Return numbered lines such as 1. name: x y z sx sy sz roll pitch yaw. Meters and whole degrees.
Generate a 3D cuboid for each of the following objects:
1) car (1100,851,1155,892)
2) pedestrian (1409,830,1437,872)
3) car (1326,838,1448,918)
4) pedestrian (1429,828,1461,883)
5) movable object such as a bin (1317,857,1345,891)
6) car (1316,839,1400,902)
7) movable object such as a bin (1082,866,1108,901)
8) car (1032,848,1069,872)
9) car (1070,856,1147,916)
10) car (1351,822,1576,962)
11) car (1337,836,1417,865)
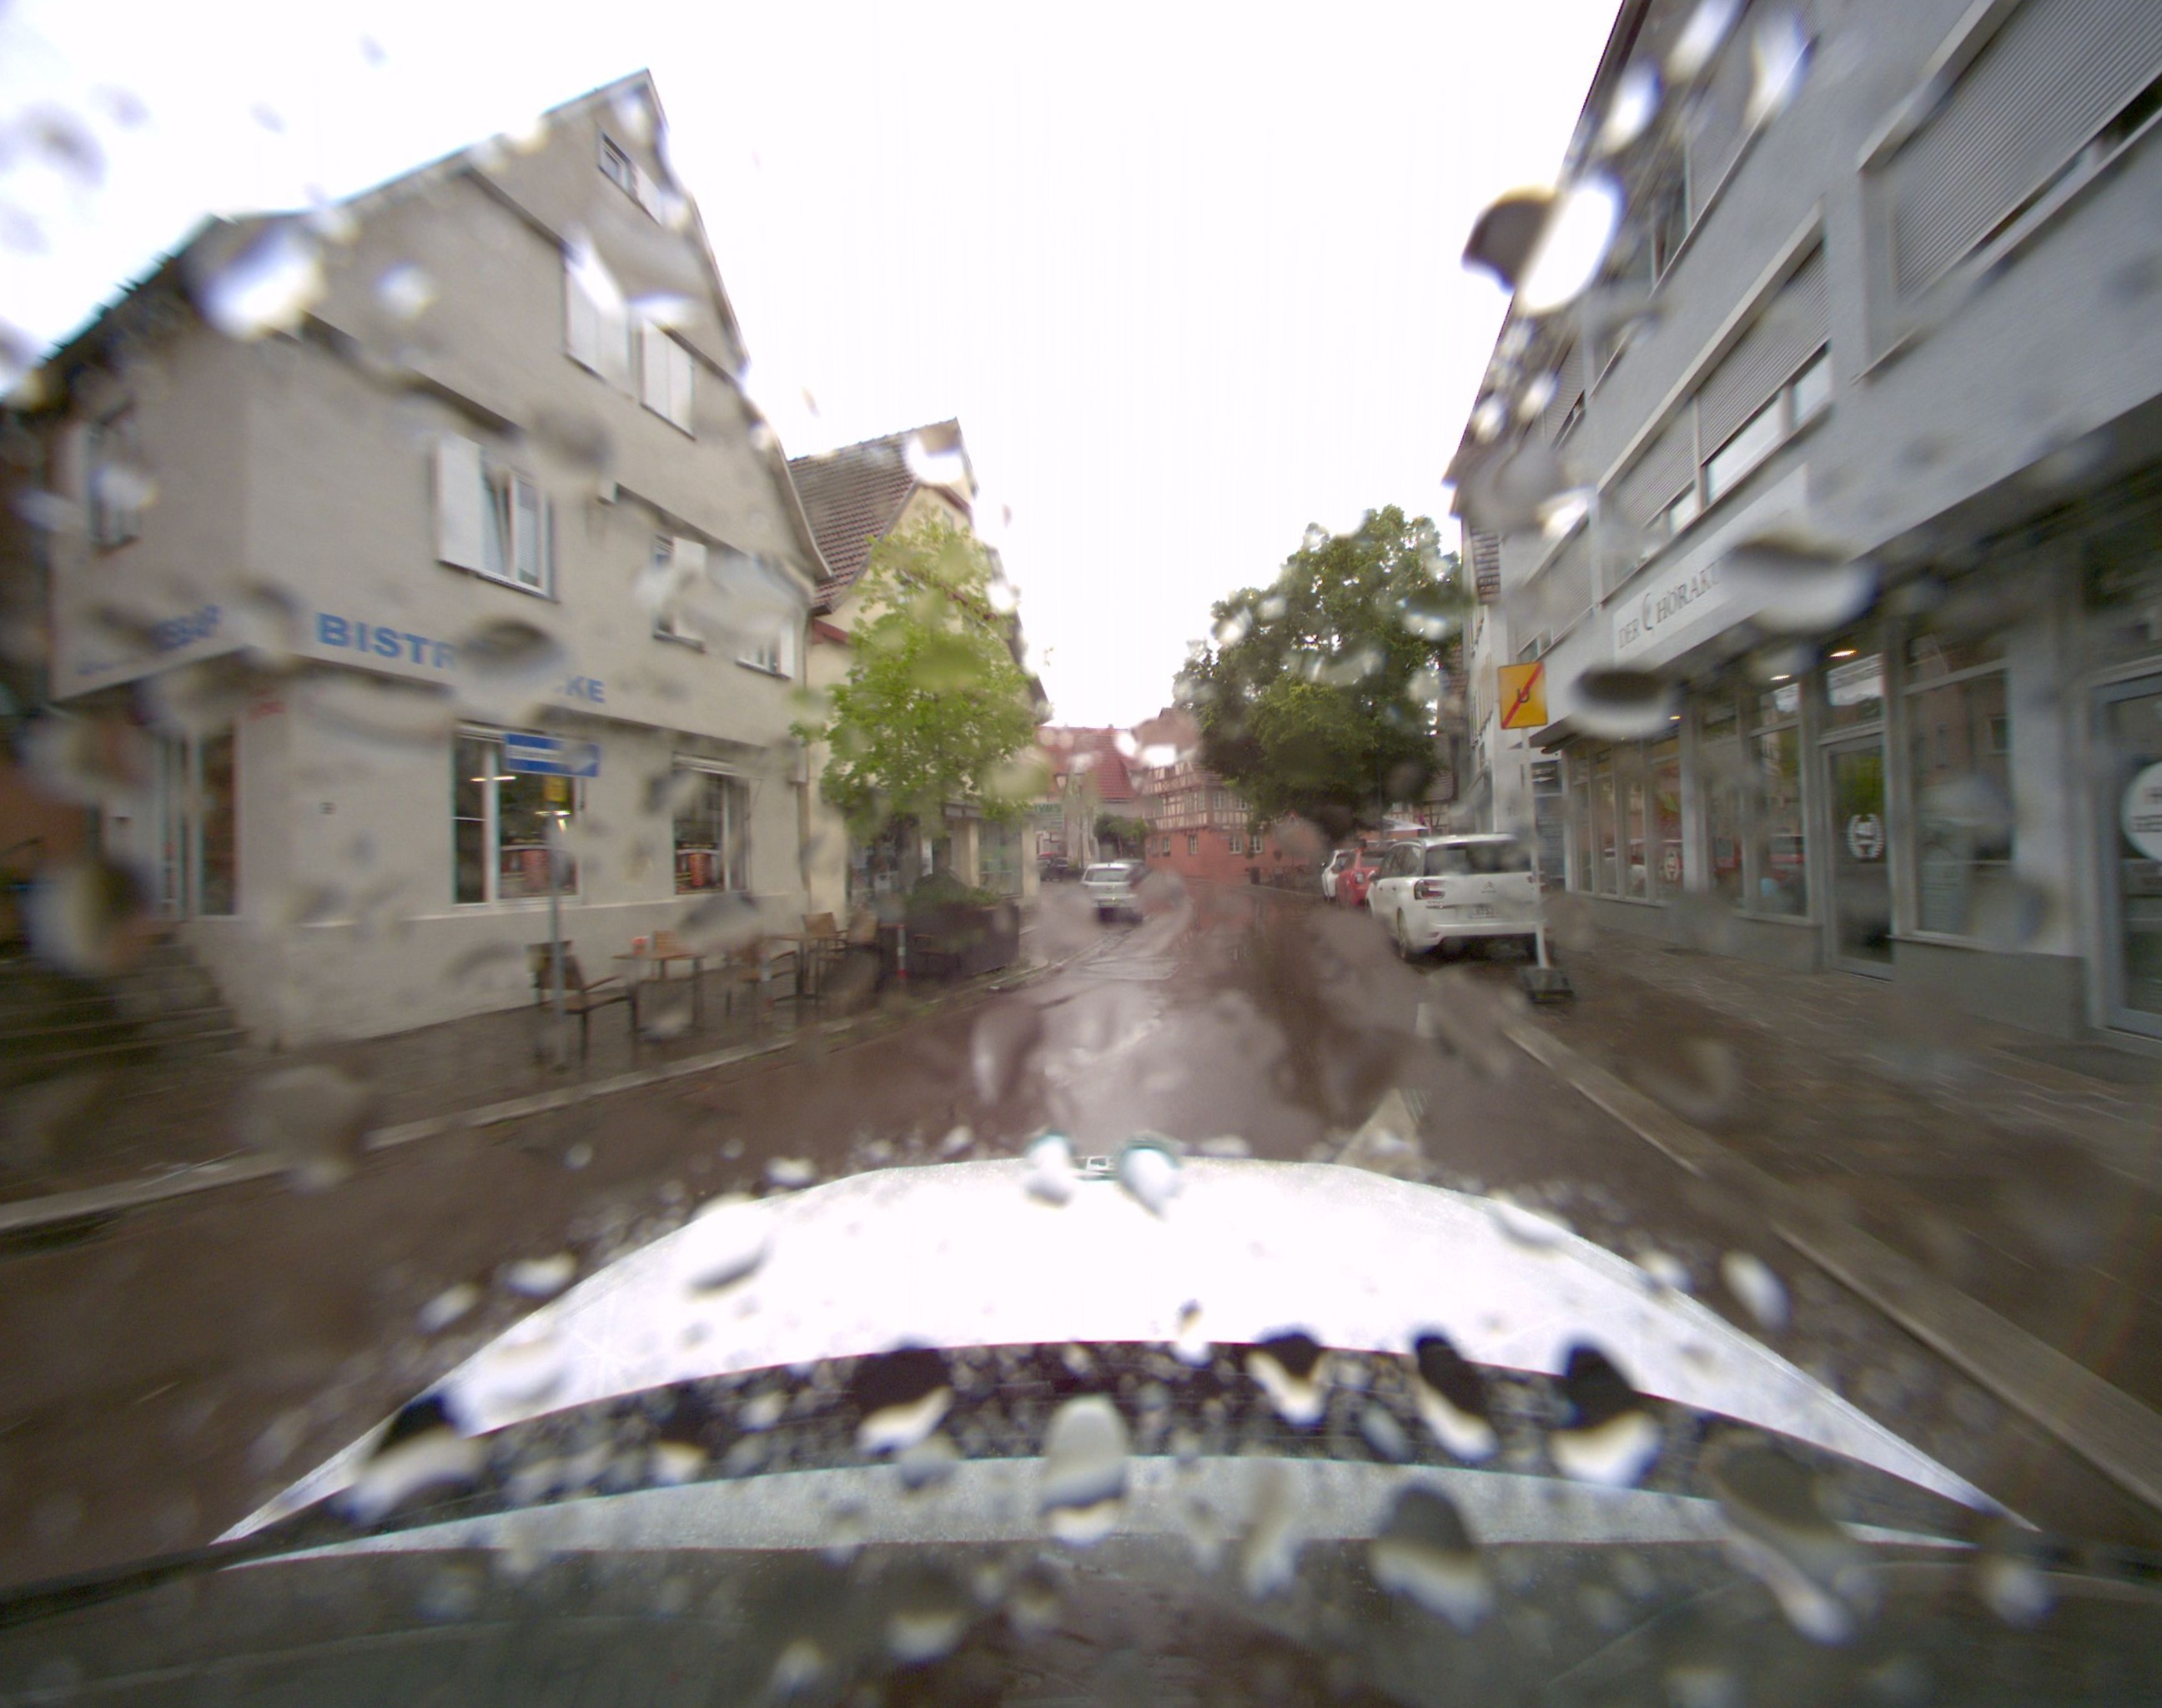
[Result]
1. car: 1.838 0.749 33.223 1.870 1.541 4.396 -1 -2 -2
2. pedestrian: 14.264 -0.122 33.991 0.901 1.698 0.867 -4 -2 27
3. car: 6.324 0.521 17.254 1.776 1.469 3.961 -1 -2 11
4. pedestrian: 11.652 0.060 26.063 0.877 1.713 0.894 -2 -2 24
5. movable object such as a bin: 8.181 0.662 26.631 0.722 1.083 0.605 -1 -2 3
6. car: 7.708 0.447 23.000 1.775 1.555 3.963 -2 -1 13
7. movable object such as a bin: 0.461 0.969 26.750 0.695 1.122 0.721 1 -2 11
8. car: -2.444 0.451 63.984 1.899 1.811 3.976 1 0 -18
9. car: 0.796 0.825 21.863 1.841 1.452 4.076 -1 -1 4
10. car: 5.239 0.476 11.844 1.777 1.599 4.452 -2 -1 10
11. car: 18.820 -0.249 51.823 4.619 1.633 1.986 -2 2 -22
